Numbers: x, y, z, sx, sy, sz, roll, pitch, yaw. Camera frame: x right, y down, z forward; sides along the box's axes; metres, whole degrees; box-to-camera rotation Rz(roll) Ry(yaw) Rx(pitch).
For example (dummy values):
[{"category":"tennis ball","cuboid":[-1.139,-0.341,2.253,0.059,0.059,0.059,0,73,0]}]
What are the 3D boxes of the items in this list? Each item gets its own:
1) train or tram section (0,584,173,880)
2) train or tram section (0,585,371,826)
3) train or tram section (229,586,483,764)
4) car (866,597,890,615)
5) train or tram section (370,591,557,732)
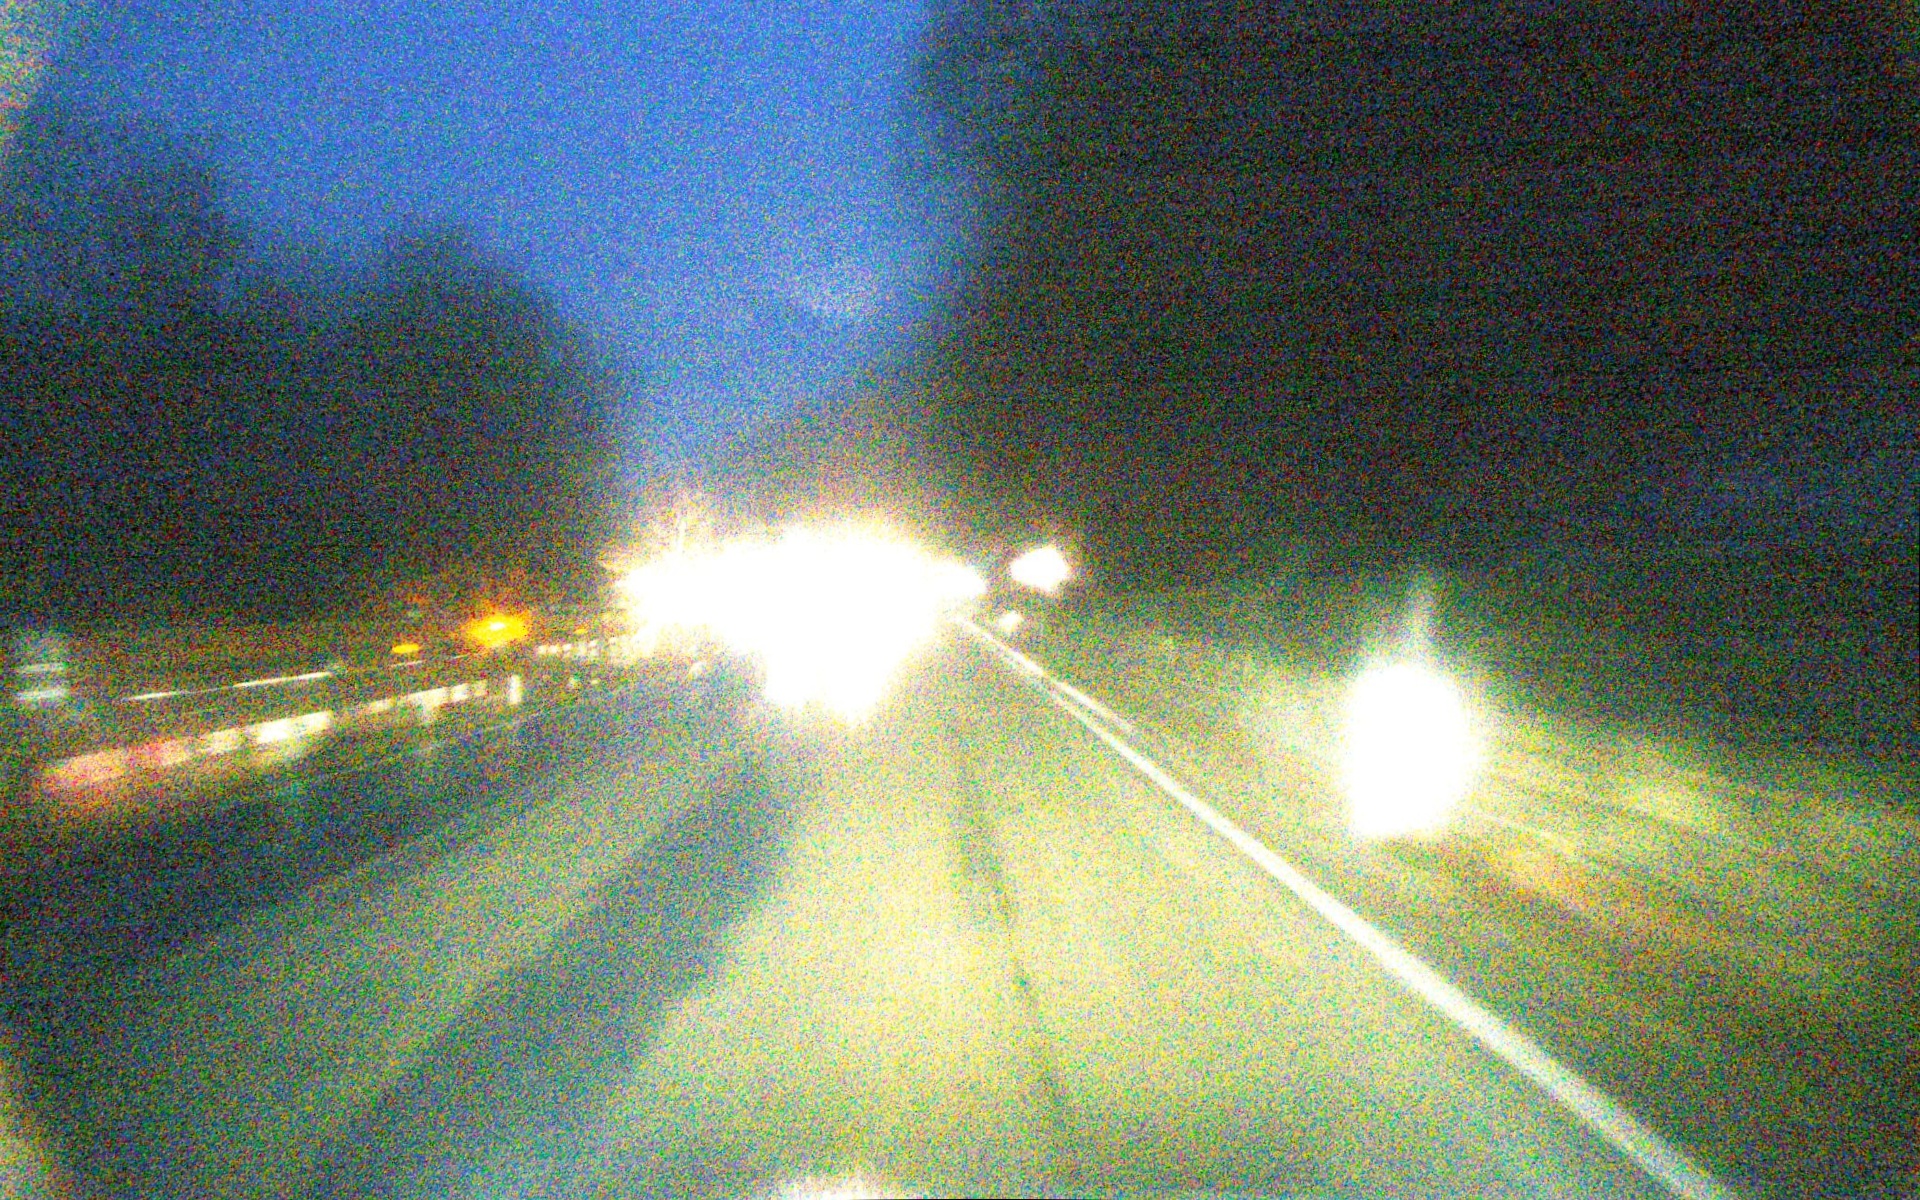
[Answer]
[{"category":"train or tram section","cuboid":[-12.797,1.565,19.887,2.786,3.520,8.550,0,0,-2]},{"category":"train or tram section","cuboid":[-12.954,1.514,28.491,2.786,3.520,8.550,0,0,-2]},{"category":"train or tram section","cuboid":[-13.213,1.466,37.089,2.786,3.520,8.550,0,0,-2]},{"category":"car","cuboid":[-6.836,0.501,137.606,1.954,1.482,4.096,-1,0,-3]},{"category":"train or tram section","cuboid":[-13.453,1.512,45.622,2.786,3.520,8.550,0,0,-2]}]
